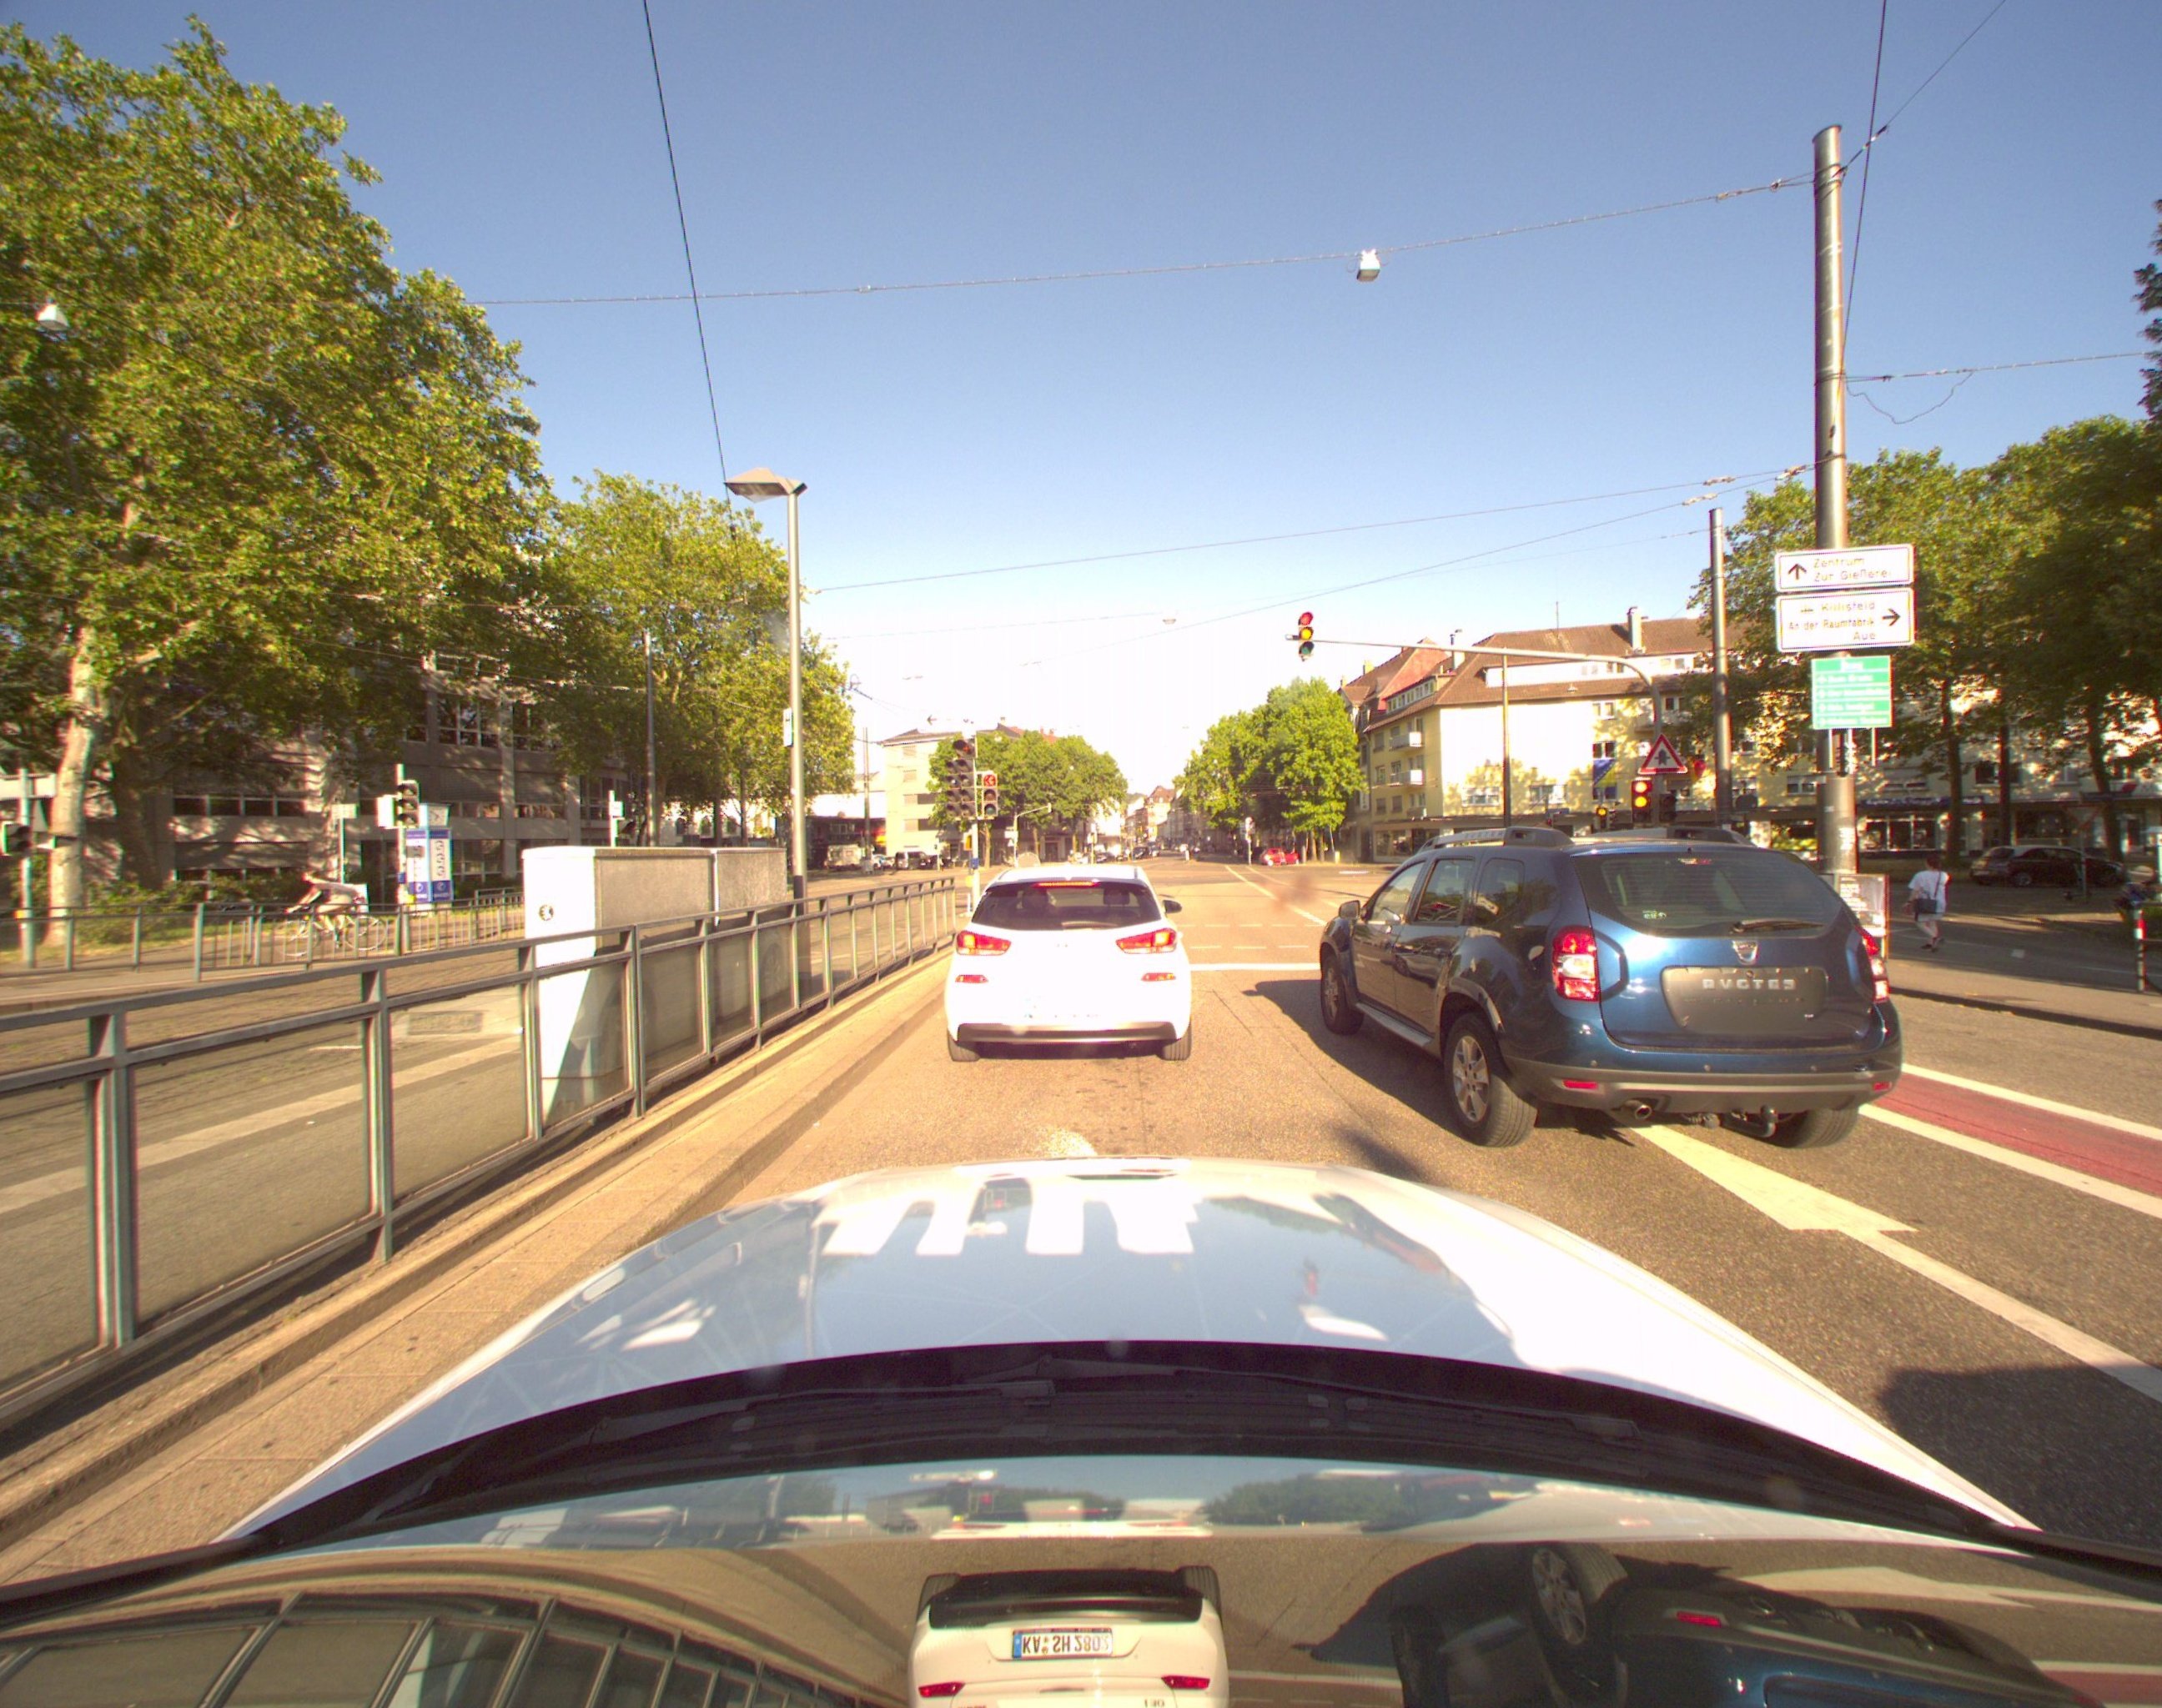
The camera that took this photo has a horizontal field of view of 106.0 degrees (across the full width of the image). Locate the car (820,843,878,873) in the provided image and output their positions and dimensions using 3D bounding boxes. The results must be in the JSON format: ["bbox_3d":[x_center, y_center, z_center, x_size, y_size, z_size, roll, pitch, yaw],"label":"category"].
[{"bbox_3d":[-25.748,0.409,90.620,2.473,3.165,6.573,-1,0,25],"label":"car"}]

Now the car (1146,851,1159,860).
[{"bbox_3d":[12.116,0.211,137.970,1.788,1.510,4.001,-1,0,1],"label":"car"}]

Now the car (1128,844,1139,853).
[{"bbox_3d":[9.844,-1.005,152.975,1.788,1.510,4.001,-1,0,1],"label":"car"}]

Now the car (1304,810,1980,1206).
[{"bbox_3d":[2.905,0.643,5.440,1.793,1.638,4.046,-1,0,1],"label":"car"}]

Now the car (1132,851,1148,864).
[{"bbox_3d":[8.377,0.508,115.447,1.782,1.826,4.014,-1,0,12],"label":"car"}]

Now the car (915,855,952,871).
[{"bbox_3d":[-15.492,0.922,85.717,1.904,1.649,4.203,-1,0,23],"label":"car"}]

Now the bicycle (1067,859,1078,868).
[{"bbox_3d":[-0.938,1.036,89.816,0.463,0.956,1.777,-1,0,25],"label":"bicycle"}]

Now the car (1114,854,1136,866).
[{"bbox_3d":[5.834,0.769,108.074,1.779,1.510,4.021,-2,-1,21],"label":"car"}]

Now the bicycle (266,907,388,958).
[{"bbox_3d":[-14.278,1.476,15.477,1.622,0.816,0.522,-1,0,-32],"label":"bicycle"}]

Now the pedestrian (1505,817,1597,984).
[{"bbox_3d":[5.462,0.522,9.498,0.654,1.871,0.678,-1,0,1],"label":"pedestrian"}]

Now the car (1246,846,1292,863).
[{"bbox_3d":[18.297,0.070,79.388,3.979,1.510,1.797,-1,0,-4],"label":"car"}]

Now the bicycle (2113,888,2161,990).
[{"bbox_3d":[11.808,0.909,8.229,0.496,1.075,1.801,0,-1,2],"label":"bicycle"}]

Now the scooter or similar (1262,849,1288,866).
[{"bbox_3d":[15.165,0.301,63.636,1.926,1.280,0.557,-1,0,43],"label":"scooter or similar"}]

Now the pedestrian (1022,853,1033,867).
[{"bbox_3d":[-5.857,0.632,89.271,0.795,1.484,0.867,-1,0,28],"label":"pedestrian"}]

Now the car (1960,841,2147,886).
[{"bbox_3d":[33.982,0.317,28.580,3.960,1.510,1.806,-1,1,12],"label":"car"}]

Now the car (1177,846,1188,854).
[{"bbox_3d":[20.498,-0.864,164.107,1.787,1.510,4.002,-1,0,2],"label":"car"}]

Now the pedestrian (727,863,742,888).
[{"bbox_3d":[-23.273,1.439,54.658,0.645,1.661,0.651,-1,0,4],"label":"pedestrian"}]

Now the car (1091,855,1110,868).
[{"bbox_3d":[2.372,0.871,100.100,1.784,1.510,4.010,-2,-1,9],"label":"car"}]

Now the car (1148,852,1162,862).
[{"bbox_3d":[11.780,0.498,129.985,1.788,1.510,4.001,-1,0,1],"label":"car"}]

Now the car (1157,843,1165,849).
[{"bbox_3d":[20.934,-2.005,213.868,1.787,1.510,4.002,-1,0,2],"label":"car"}]

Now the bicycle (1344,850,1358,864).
[{"bbox_3d":[20.669,0.229,62.388,0.606,1.107,1.803,-1,0,7],"label":"bicycle"}]

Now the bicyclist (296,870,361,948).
[{"bbox_3d":[-14.286,1.024,15.478,0.806,1.414,0.522,-1,0,-32],"label":"bicyclist"}]

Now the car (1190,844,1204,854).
[{"bbox_3d":[21.480,-1.006,151.454,2.097,1.776,4.343,-1,0,2],"label":"car"}]

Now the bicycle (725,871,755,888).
[{"bbox_3d":[-23.085,1.710,55.130,1.786,1.107,0.501,-1,0,4],"label":"bicycle"}]

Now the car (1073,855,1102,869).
[{"bbox_3d":[0.756,0.885,94.147,1.707,1.510,3.899,-2,-1,27],"label":"car"}]

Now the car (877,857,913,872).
[{"bbox_3d":[-20.191,1.083,88.569,1.779,1.510,4.031,-1,0,21],"label":"car"}]

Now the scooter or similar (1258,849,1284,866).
[{"bbox_3d":[14.681,0.296,63.098,1.926,1.280,0.557,-1,0,43],"label":"scooter or similar"}]

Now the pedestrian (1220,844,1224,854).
[{"bbox_3d":[24.790,-0.908,142.859,0.643,1.651,0.652,0,-1,12],"label":"pedestrian"}]

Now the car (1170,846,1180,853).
[{"bbox_3d":[21.112,-0.904,183.345,1.787,1.522,4.002,-1,0,2],"label":"car"}]

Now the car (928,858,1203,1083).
[{"bbox_3d":[-0.051,0.778,7.373,1.801,1.452,4.001,-1,0,1],"label":"car"}]

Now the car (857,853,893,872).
[{"bbox_3d":[-22.653,0.950,89.537,1.779,1.955,4.021,-1,0,21],"label":"car"}]

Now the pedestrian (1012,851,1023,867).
[{"bbox_3d":[-6.772,0.536,87.381,0.828,1.771,0.787,-1,0,27],"label":"pedestrian"}]

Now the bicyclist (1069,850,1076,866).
[{"bbox_3d":[-0.928,0.450,89.866,0.463,1.745,0.721,-1,0,25],"label":"bicyclist"}]

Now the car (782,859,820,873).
[{"bbox_3d":[-32.369,1.346,94.260,1.778,1.510,4.023,-1,0,26],"label":"car"}]

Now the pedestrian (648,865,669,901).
[{"bbox_3d":[-18.663,1.264,35.946,0.533,1.552,0.677,-1,0,1],"label":"pedestrian"}]

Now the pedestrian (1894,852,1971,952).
[{"bbox_3d":[13.893,0.760,13.310,0.642,1.563,0.635,1,0,21],"label":"pedestrian"}]

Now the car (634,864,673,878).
[{"bbox_3d":[-48.477,1.879,92.353,3.952,1.510,1.810,-1,0,23],"label":"car"}]

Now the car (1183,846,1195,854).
[{"bbox_3d":[20.955,-0.853,157.929,1.787,1.510,4.002,-1,0,2],"label":"car"}]

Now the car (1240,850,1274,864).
[{"bbox_3d":[20.257,0.332,93.558,4.021,1.510,1.779,-1,0,-40],"label":"car"}]

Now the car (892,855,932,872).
[{"bbox_3d":[-17.911,0.986,86.490,1.777,1.649,4.035,-1,0,31],"label":"car"}]

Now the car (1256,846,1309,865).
[{"bbox_3d":[17.045,0.107,68.846,3.983,1.510,1.796,-1,0,-7],"label":"car"}]

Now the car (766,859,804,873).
[{"bbox_3d":[-34.716,1.380,95.690,1.778,1.510,4.023,-1,0,26],"label":"car"}]

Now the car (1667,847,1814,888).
[{"bbox_3d":[24.419,0.467,30.258,4.018,1.438,1.806,0,1,0],"label":"car"}]

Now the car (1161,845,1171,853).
[{"bbox_3d":[21.702,-1.183,208.372,2.318,2.013,4.978,-1,0,2],"label":"car"}]
